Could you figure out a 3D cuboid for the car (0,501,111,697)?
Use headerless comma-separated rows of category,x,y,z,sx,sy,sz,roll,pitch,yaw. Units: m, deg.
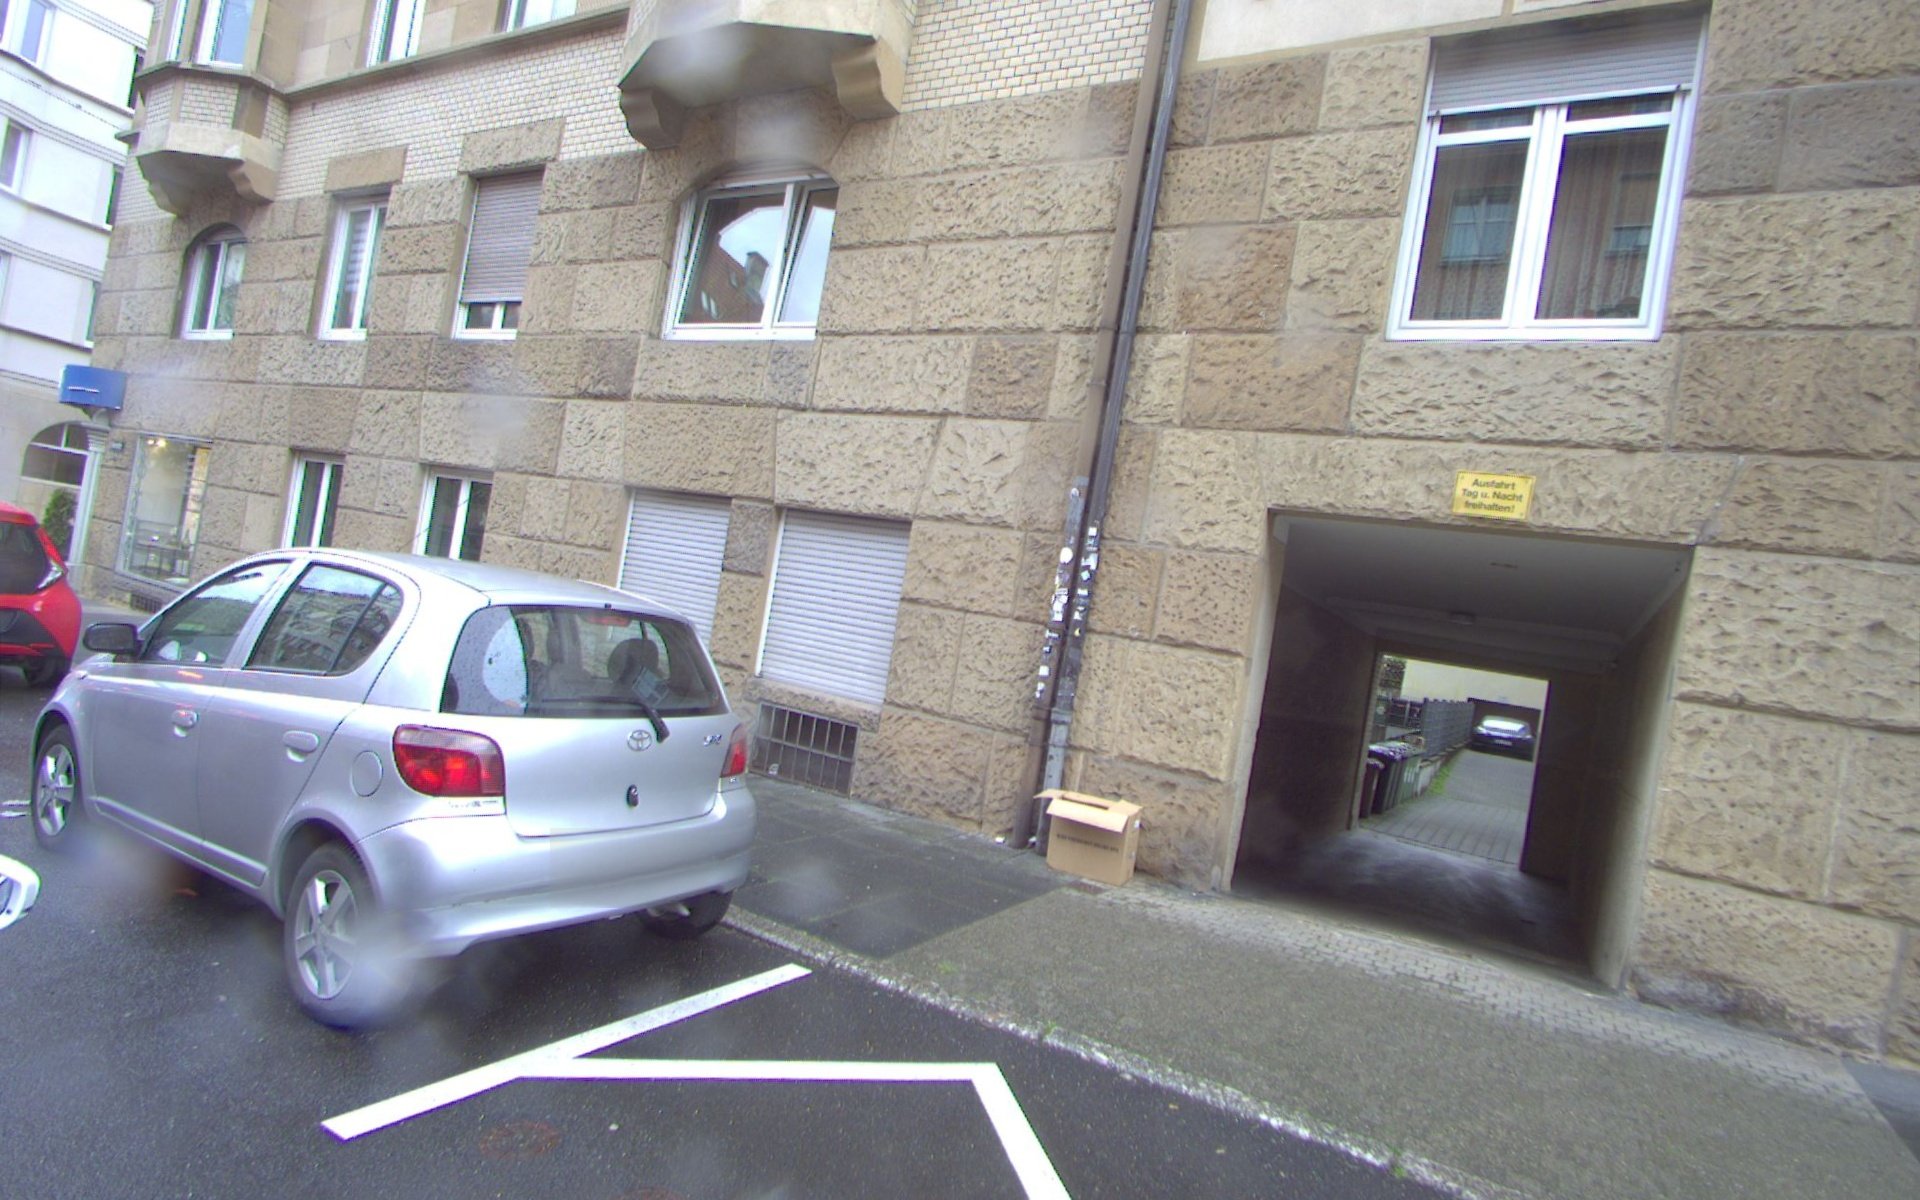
car,-8.735,-0.200,8.186,3.243,1.464,1.646,7,-2,29

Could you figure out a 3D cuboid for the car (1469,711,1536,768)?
car,18.339,4.673,33.952,1.693,1.538,4.102,7,-3,31

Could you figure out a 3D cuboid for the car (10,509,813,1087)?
car,-2.487,0.547,4.408,3.258,1.485,1.616,7,0,33
